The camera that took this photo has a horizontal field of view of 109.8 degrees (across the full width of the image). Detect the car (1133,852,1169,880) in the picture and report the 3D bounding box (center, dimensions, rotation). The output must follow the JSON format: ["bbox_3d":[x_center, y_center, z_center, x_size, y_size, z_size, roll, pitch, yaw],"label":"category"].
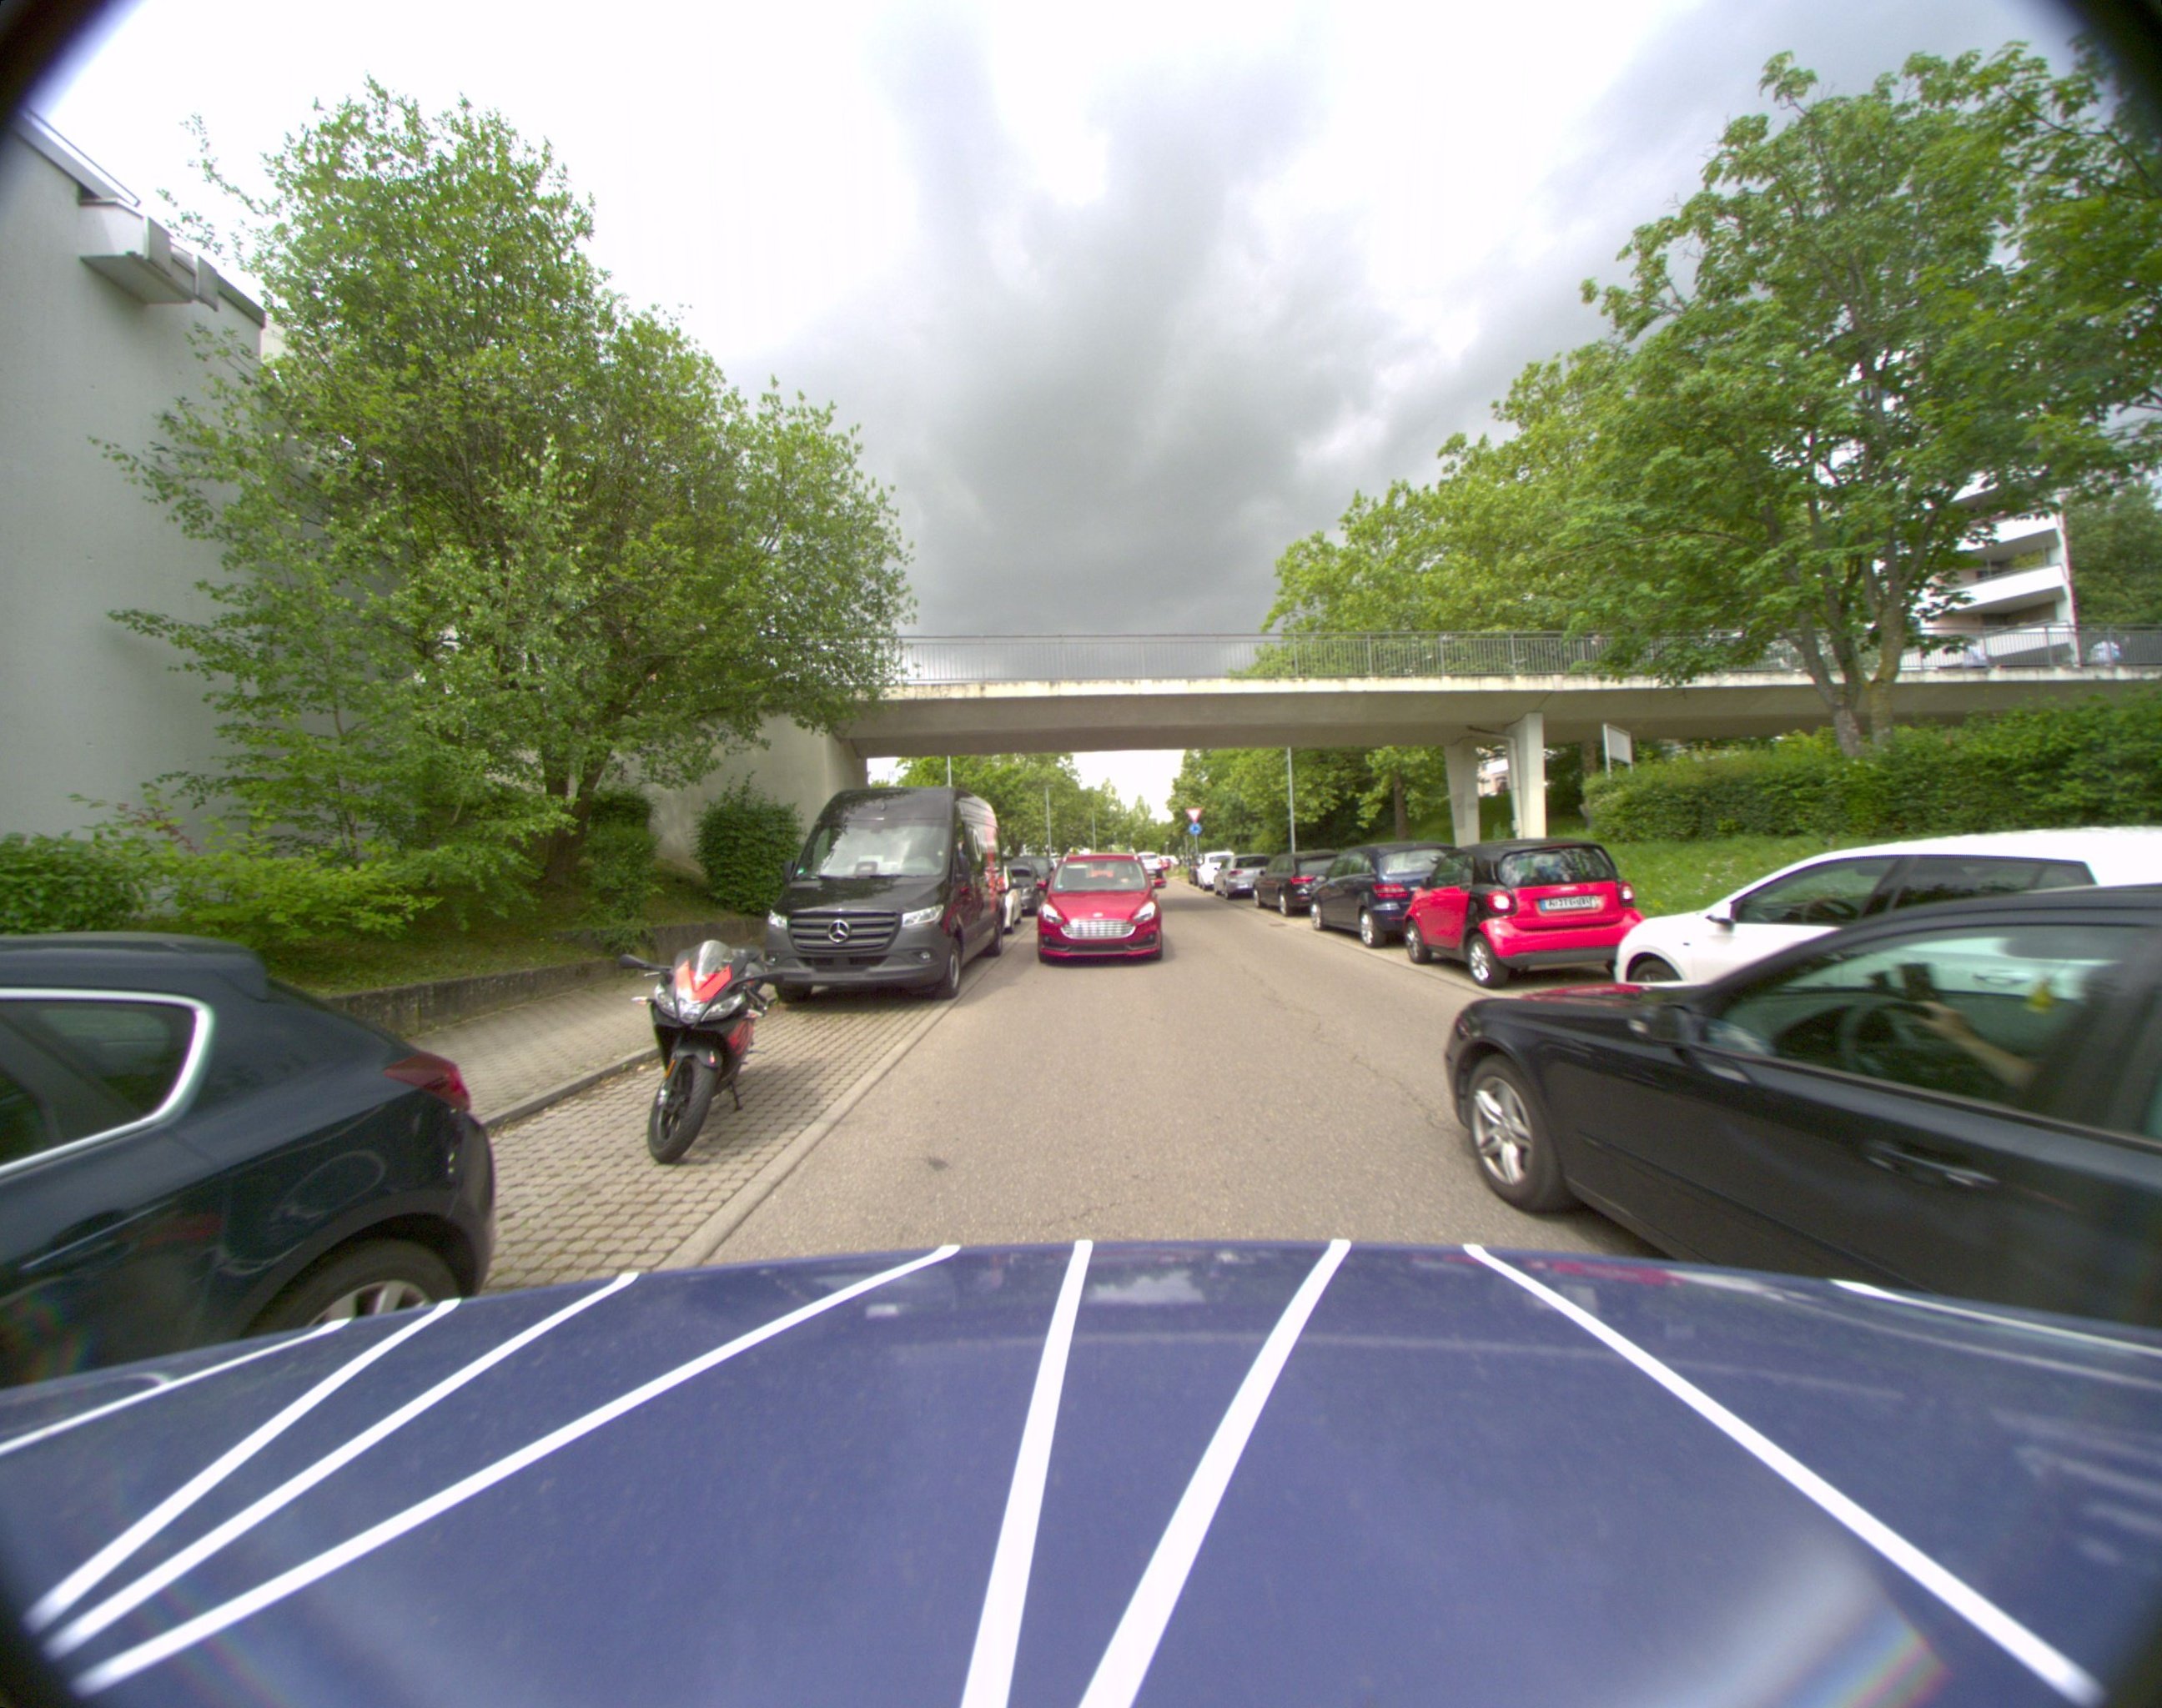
[{"bbox_3d":[4.287,0.700,46.960,1.813,1.561,3.721,-2,0,0],"label":"car"}]

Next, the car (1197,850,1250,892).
[{"bbox_3d":[5.816,0.654,31.382,1.812,1.561,3.723,-2,0,6],"label":"car"}]

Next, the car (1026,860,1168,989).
[{"bbox_3d":[0.274,0.941,11.864,1.812,1.600,3.722,-2,0,2],"label":"car"}]

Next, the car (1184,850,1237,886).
[{"bbox_3d":[6.051,0.628,35.886,1.813,1.561,3.721,-2,0,0],"label":"car"}]

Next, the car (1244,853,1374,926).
[{"bbox_3d":[5.480,0.771,18.875,1.813,1.472,4.486,-4,0,0],"label":"car"}]

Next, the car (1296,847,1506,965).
[{"bbox_3d":[5.185,0.749,12.958,1.813,1.575,3.985,-4,0,0],"label":"car"}]

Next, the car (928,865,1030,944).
[{"bbox_3d":[-2.132,1.025,16.834,1.586,1.441,3.722,-2,0,2],"label":"car"}]

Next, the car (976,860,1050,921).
[{"bbox_3d":[-1.846,0.972,21.637,1.604,1.478,3.722,-2,0,2],"label":"car"}]

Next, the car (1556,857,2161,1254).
[{"bbox_3d":[4.979,0.762,4.532,1.812,1.396,4.048,-2,0,1],"label":"car"}]

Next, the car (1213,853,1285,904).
[{"bbox_3d":[5.617,0.776,25.839,1.812,1.447,3.862,-5,0,6],"label":"car"}]

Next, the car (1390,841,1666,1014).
[{"bbox_3d":[4.966,0.724,8.863,1.597,1.575,2.685,-6,0,3],"label":"car"}]

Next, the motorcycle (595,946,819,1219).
[{"bbox_3d":[-2.160,1.233,4.700,0.710,1.061,1.929,-2,1,-11],"label":"motorcycle"}]

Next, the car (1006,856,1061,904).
[{"bbox_3d":[-1.668,0.892,27.652,1.604,1.533,3.722,-2,0,2],"label":"car"}]

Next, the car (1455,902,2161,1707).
[{"bbox_3d":[2.666,0.942,1.351,1.756,1.411,4.367,-1,0,-1],"label":"car"}]

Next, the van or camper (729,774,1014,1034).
[{"bbox_3d":[-2.300,0.480,10.291,1.998,2.481,5.758,-2,0,2],"label":"van or camper"}]
